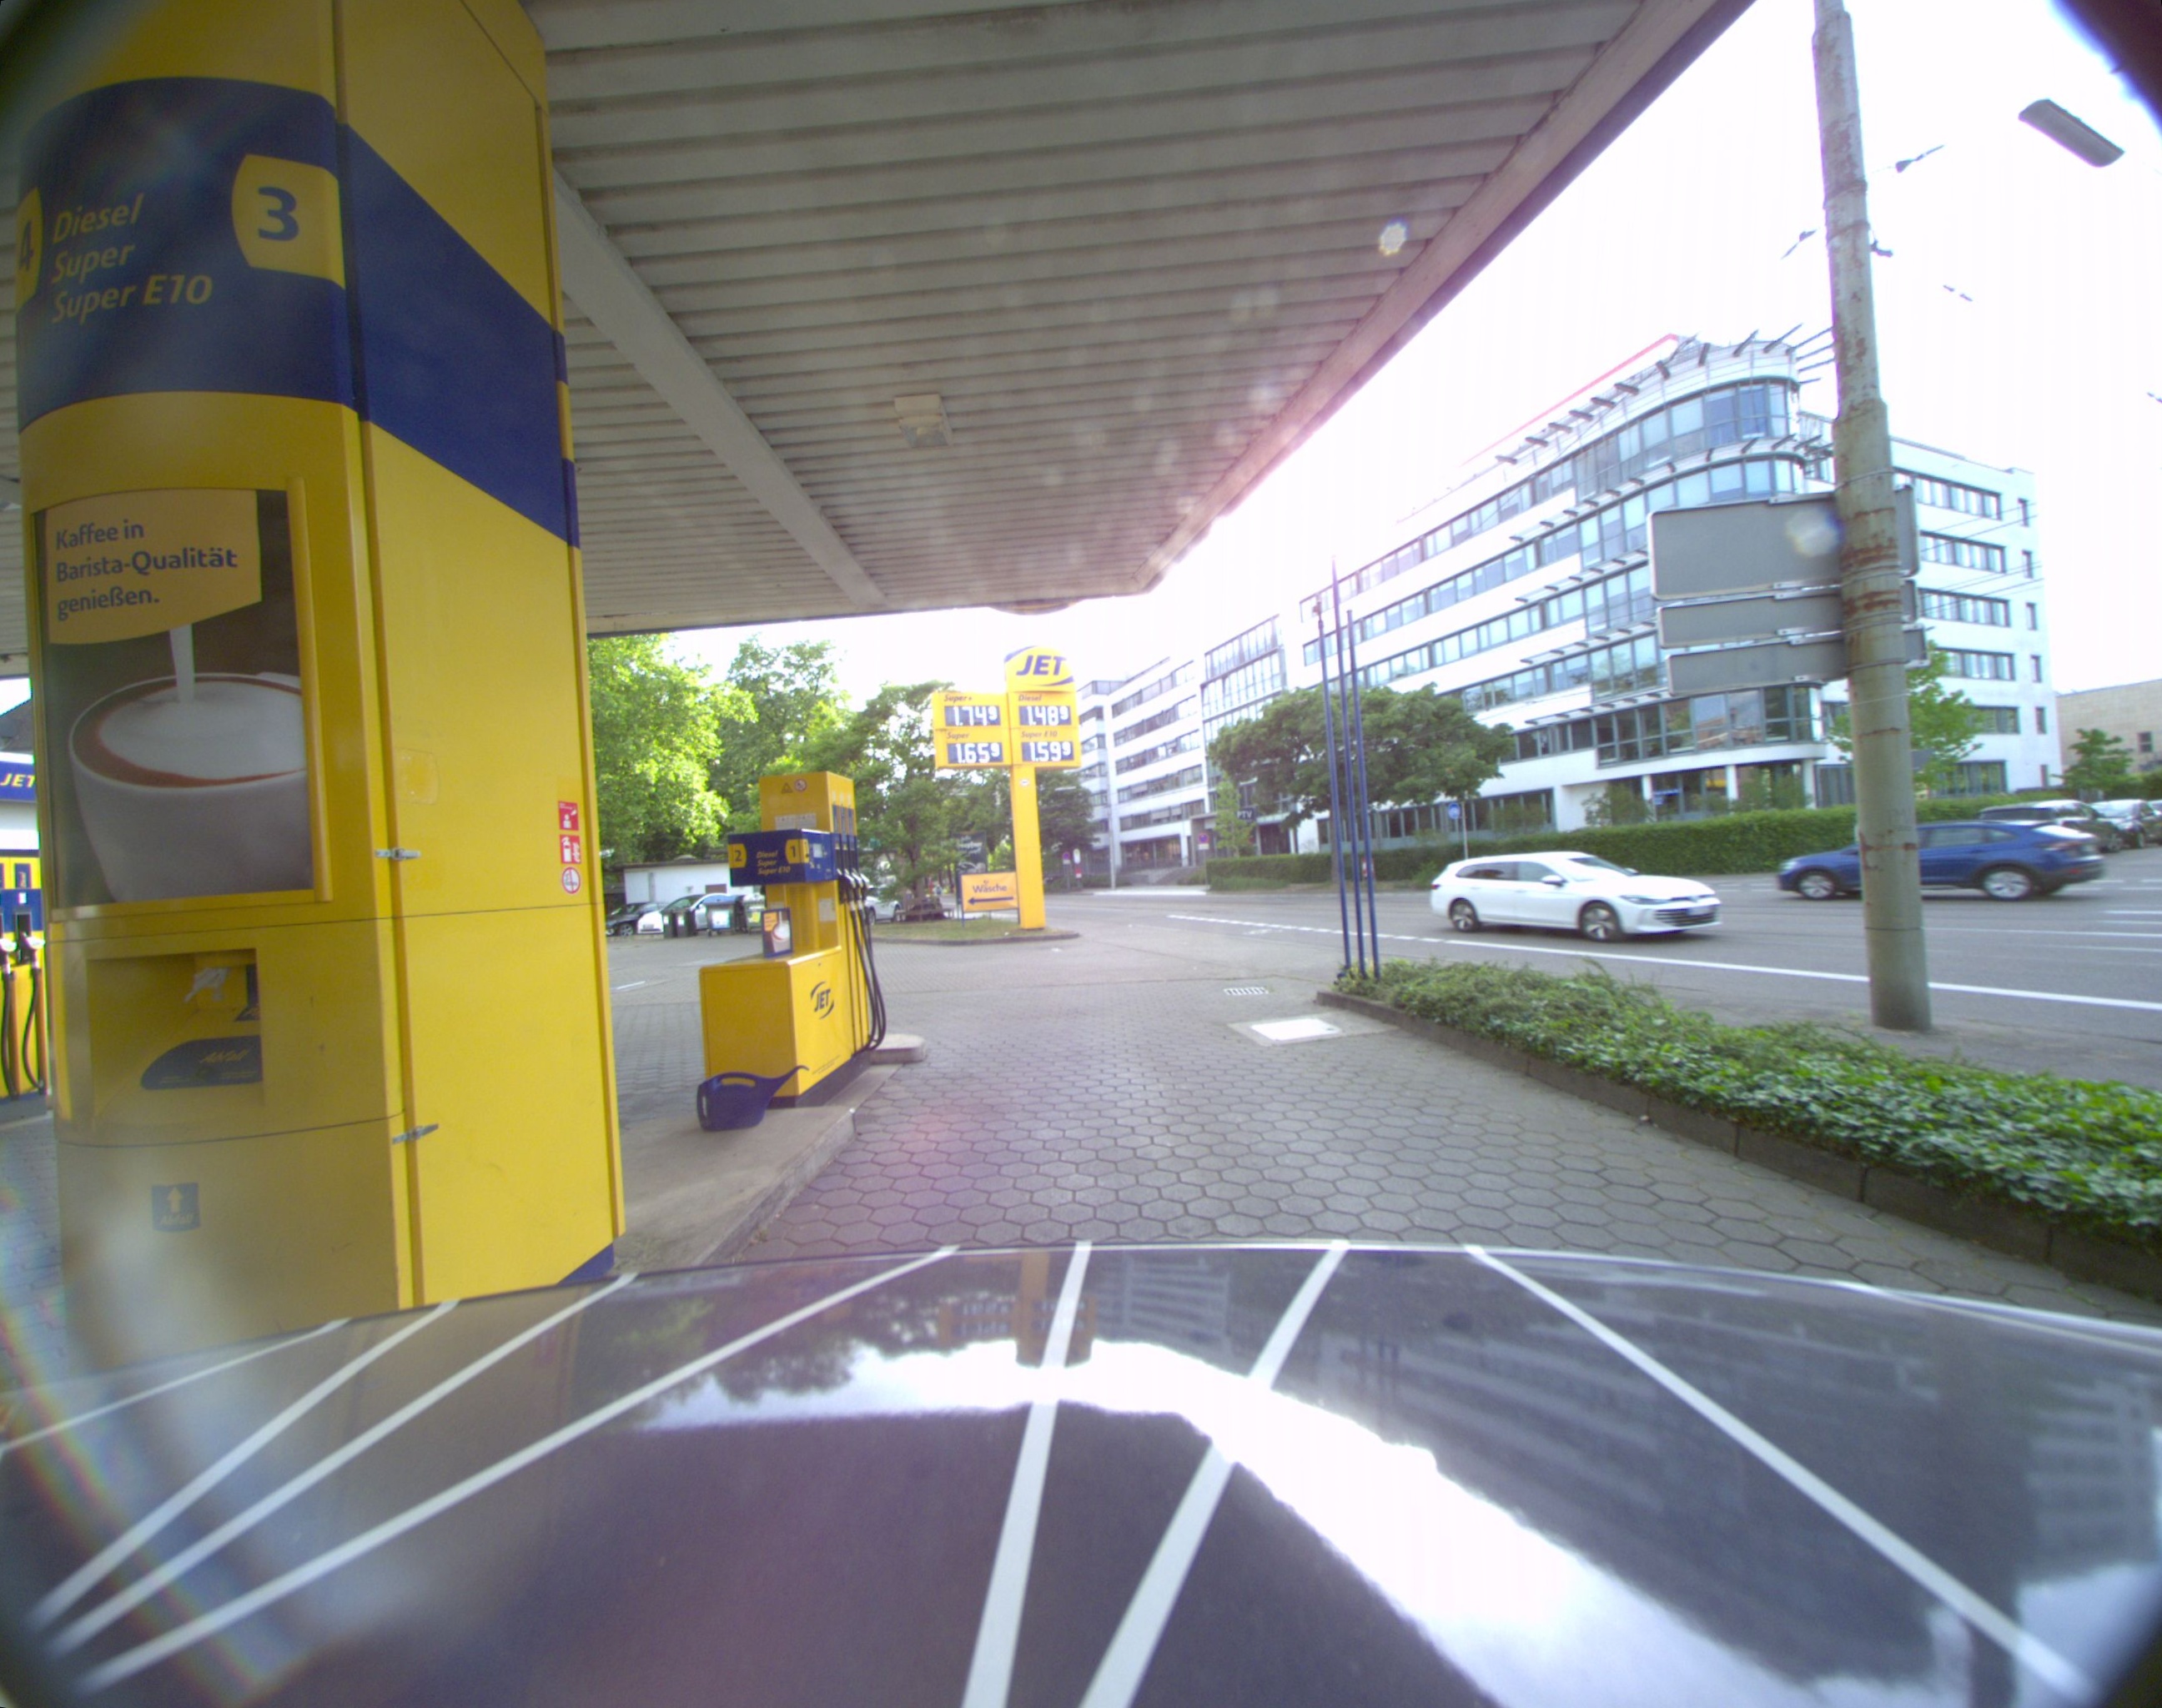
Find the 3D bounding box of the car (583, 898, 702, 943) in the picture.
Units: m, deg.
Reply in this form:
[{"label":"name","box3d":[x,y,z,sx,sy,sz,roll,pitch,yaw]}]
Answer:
[{"label":"car","box3d":[-17.534,2.632,30.625,1.823,1.426,4.200,-4,-2,10]}]

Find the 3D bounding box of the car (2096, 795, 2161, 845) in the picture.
[{"label":"car","box3d":[37.104,-1.254,26.028,4.201,1.568,1.820,-4,-1,-24]}]

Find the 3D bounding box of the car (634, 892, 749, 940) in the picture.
[{"label":"car","box3d":[-15.390,2.413,30.271,1.823,1.575,4.200,-4,-2,10]}]

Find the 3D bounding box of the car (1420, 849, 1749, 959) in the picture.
[{"label":"car","box3d":[8.776,0.812,13.895,1.865,1.500,4.821,-5,0,-18]}]

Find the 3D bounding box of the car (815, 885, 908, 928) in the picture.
[{"label":"car","box3d":[-8.657,2.048,30.394,1.823,1.449,4.200,-4,-2,10]}]

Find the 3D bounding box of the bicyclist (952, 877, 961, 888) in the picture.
[{"label":"bicyclist","box3d":[-15.764,3.607,96.194,0.792,1.443,1.174,-3,1,-22]}]

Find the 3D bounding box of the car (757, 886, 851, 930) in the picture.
[{"label":"car","box3d":[-11.747,2.266,32.482,1.823,1.575,4.200,-4,-2,10]}]

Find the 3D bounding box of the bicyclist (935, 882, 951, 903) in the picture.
[{"label":"bicyclist","box3d":[-9.723,2.708,53.526,0.854,1.415,1.036,-5,2,-22]}]

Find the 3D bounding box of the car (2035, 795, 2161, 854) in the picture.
[{"label":"car","box3d":[32.575,-0.960,24.080,4.201,1.568,1.820,-4,-1,-24]}]

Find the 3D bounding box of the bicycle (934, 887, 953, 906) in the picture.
[{"label":"bicycle","box3d":[-9.738,2.992,53.591,0.854,1.232,1.879,-5,1,-22]}]

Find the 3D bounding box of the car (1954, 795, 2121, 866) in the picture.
[{"label":"car","box3d":[27.417,-0.670,21.770,4.397,1.678,1.820,-4,-1,-24]}]

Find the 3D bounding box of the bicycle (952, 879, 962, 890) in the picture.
[{"label":"bicycle","box3d":[-15.727,3.870,96.134,0.792,1.232,1.879,-2,0,-22]}]

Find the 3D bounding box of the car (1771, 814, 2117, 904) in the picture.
[{"label":"car","box3d":[16.791,0.157,15.066,1.866,1.461,4.131,-4,-1,-27]}]
